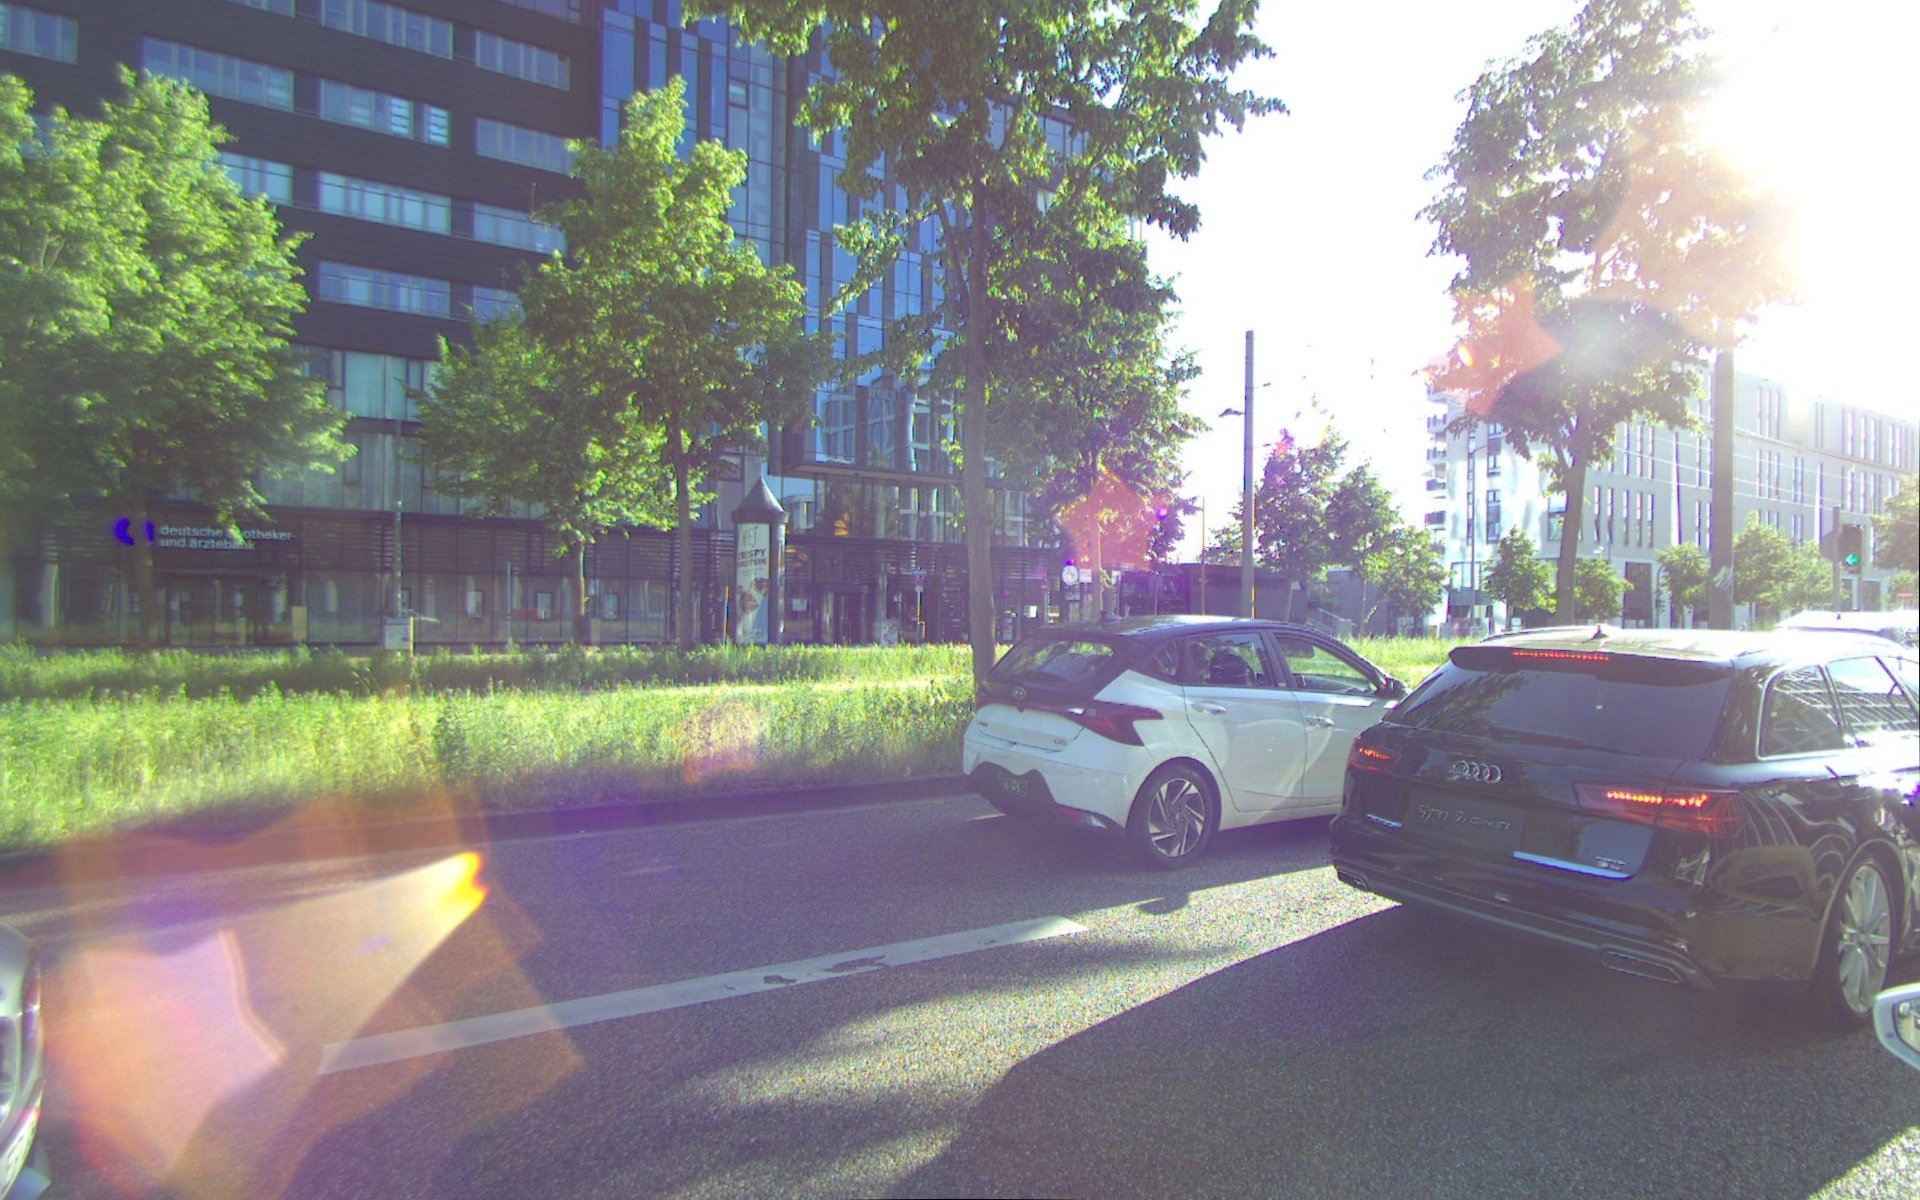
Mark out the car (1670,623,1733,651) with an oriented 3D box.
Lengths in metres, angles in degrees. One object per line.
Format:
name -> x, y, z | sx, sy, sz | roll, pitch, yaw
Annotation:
car -> 51.476, 2.558, 69.683 | 4.319, 1.838, 1.984 | 1, -1, -30

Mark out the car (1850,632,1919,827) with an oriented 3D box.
car -> 9.300, 1.018, 8.192 | 4.288, 1.445, 1.833 | 1, -1, -30

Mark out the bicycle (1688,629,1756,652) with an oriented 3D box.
bicycle -> 42.616, 2.245, 56.201 | 0.808, 1.206, 2.926 | 1, -1, -31

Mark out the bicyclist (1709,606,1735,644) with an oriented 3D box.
bicyclist -> 42.634, 1.397, 56.218 | 0.809, 2.120, 0.935 | 1, -1, -32

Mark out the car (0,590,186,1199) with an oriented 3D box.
car -> -3.531, 0.696, 0.702 | 4.509, 1.504, 1.810 | 1, -1, -31

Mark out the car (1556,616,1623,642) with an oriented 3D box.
car -> 37.538, 1.721, 59.907 | 3.953, 1.540, 1.756 | 1, -1, -30

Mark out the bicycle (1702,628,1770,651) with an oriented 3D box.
bicycle -> 43.849, 2.242, 56.788 | 0.809, 1.206, 2.925 | 1, -1, -33

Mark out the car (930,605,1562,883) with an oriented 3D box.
car -> 2.187, 0.811, 7.257 | 4.515, 1.467, 1.790 | 1, -1, -31

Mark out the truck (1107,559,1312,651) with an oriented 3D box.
truck -> 11.704, 0.318, 46.499 | 10.094, 3.904, 2.877 | 1, -1, -31

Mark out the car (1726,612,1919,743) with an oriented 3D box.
car -> 12.110, 0.907, 13.426 | 4.525, 1.467, 1.786 | 1, 0, -37

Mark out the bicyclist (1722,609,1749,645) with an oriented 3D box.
bicyclist -> 43.865, 1.522, 56.814 | 0.809, 1.973, 0.993 | 1, -1, -33

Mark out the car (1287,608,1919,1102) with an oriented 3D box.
car -> 4.097, 0.837, 5.172 | 4.911, 1.504, 1.864 | 1, -1, -32

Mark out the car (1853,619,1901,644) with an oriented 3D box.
car -> 78.102, 2.656, 85.531 | 3.953, 2.040, 1.984 | 1, -1, -30

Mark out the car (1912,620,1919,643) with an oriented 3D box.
car -> 90.301, 2.951, 93.146 | 3.953, 2.040, 1.984 | 1, -1, -30
